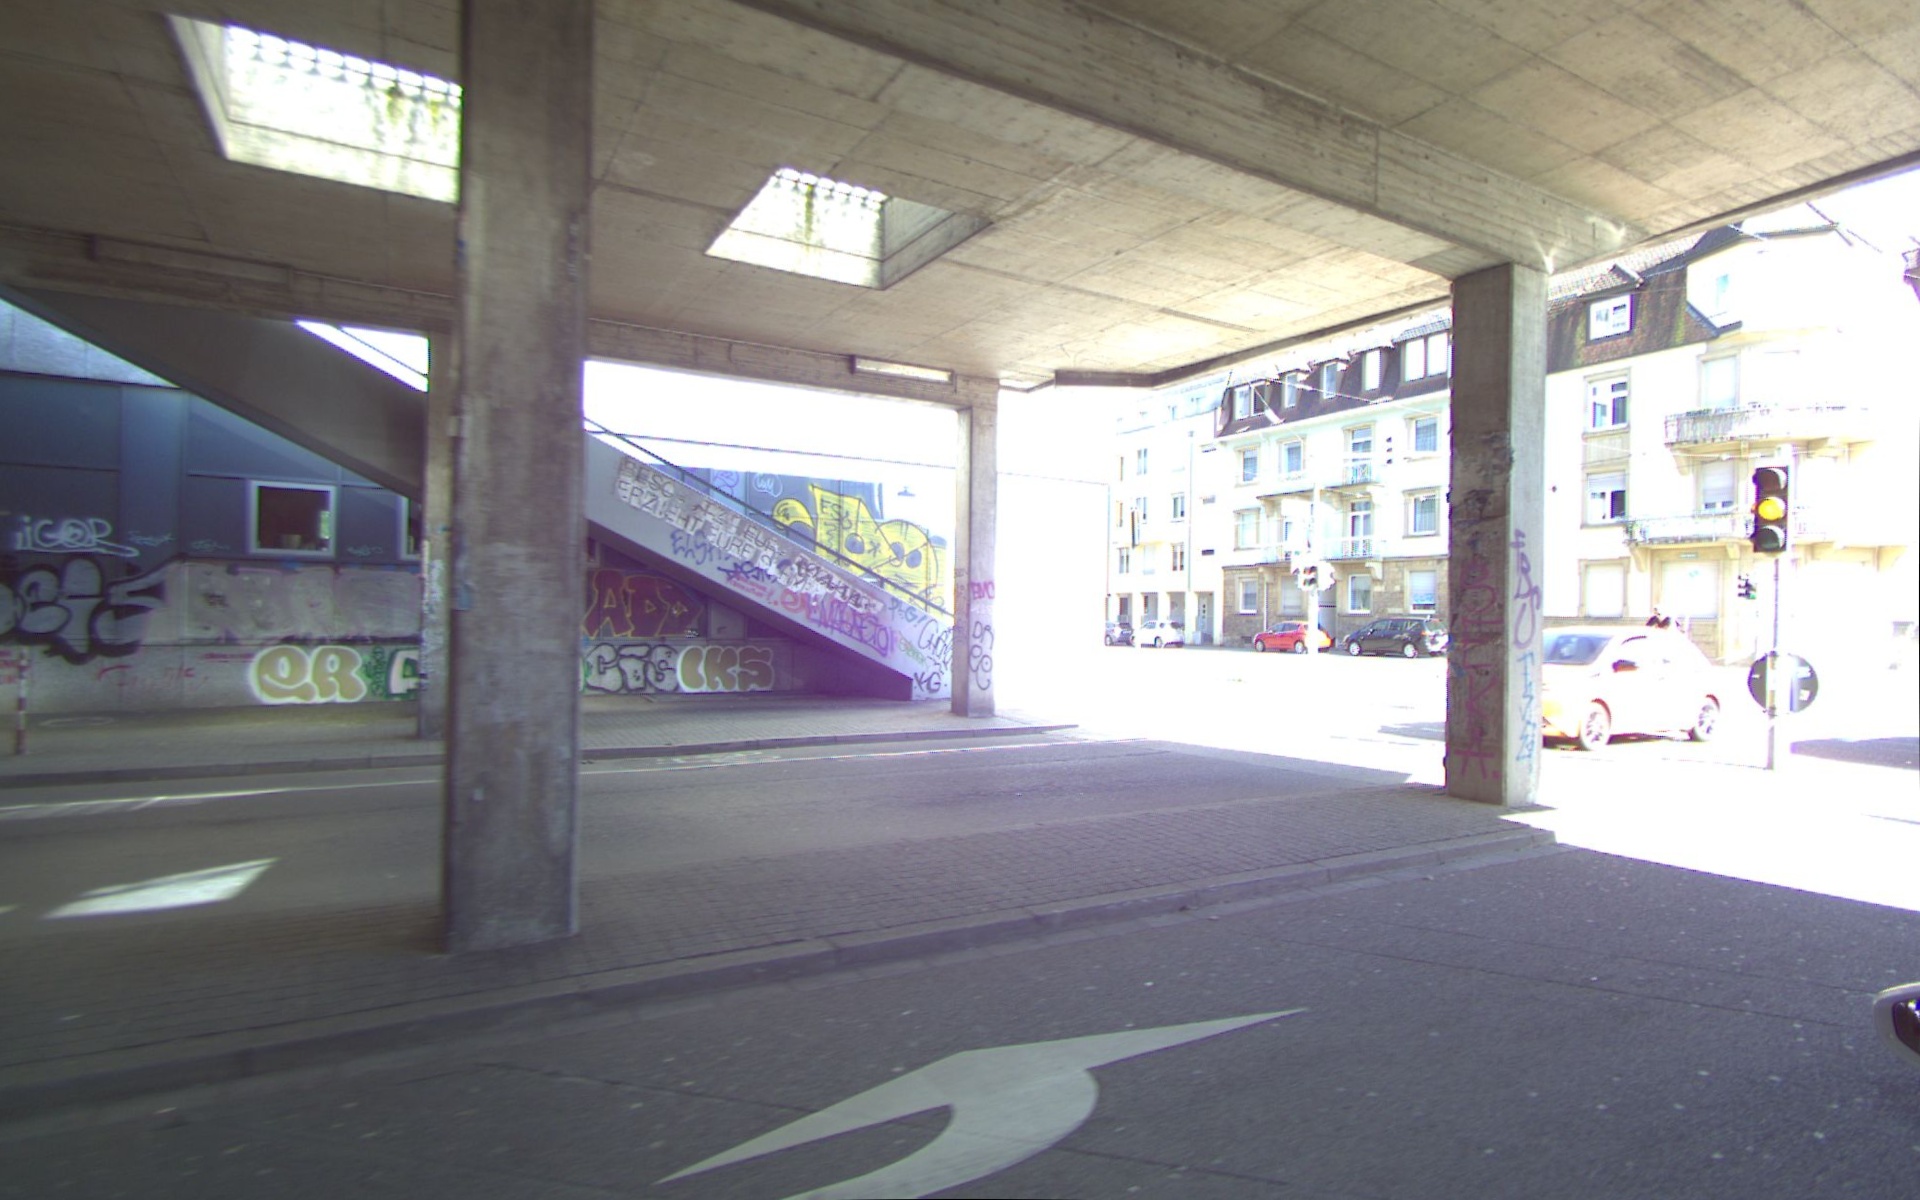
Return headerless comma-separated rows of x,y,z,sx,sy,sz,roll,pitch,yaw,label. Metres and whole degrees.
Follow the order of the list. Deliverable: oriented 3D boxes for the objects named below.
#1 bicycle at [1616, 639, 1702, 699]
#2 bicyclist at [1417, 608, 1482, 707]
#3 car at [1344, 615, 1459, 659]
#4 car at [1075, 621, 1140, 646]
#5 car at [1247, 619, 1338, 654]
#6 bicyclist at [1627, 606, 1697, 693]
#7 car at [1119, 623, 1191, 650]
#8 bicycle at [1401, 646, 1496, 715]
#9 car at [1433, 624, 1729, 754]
13.960,1.356,20.037,2.032,1.138,0.539,1,-1,-28,bicycle
8.388,0.970,17.208,0.899,1.654,0.603,1,-1,-29,bicyclist
18.412,1.499,42.082,1.938,1.747,4.144,0,-1,-28,car
8.708,1.956,59.584,1.939,1.381,3.815,0,-1,-27,car
15.593,1.677,47.211,1.875,1.561,3.863,0,-1,-28,car
14.013,0.972,20.049,1.018,1.682,0.779,1,-1,-28,bicyclist
10.771,1.984,55.678,1.974,1.381,3.815,0,-1,-27,car
8.383,1.356,17.204,1.838,1.105,0.523,1,-1,-30,bicycle
7.943,1.051,12.861,3.416,1.460,1.653,1,-1,-25,car
